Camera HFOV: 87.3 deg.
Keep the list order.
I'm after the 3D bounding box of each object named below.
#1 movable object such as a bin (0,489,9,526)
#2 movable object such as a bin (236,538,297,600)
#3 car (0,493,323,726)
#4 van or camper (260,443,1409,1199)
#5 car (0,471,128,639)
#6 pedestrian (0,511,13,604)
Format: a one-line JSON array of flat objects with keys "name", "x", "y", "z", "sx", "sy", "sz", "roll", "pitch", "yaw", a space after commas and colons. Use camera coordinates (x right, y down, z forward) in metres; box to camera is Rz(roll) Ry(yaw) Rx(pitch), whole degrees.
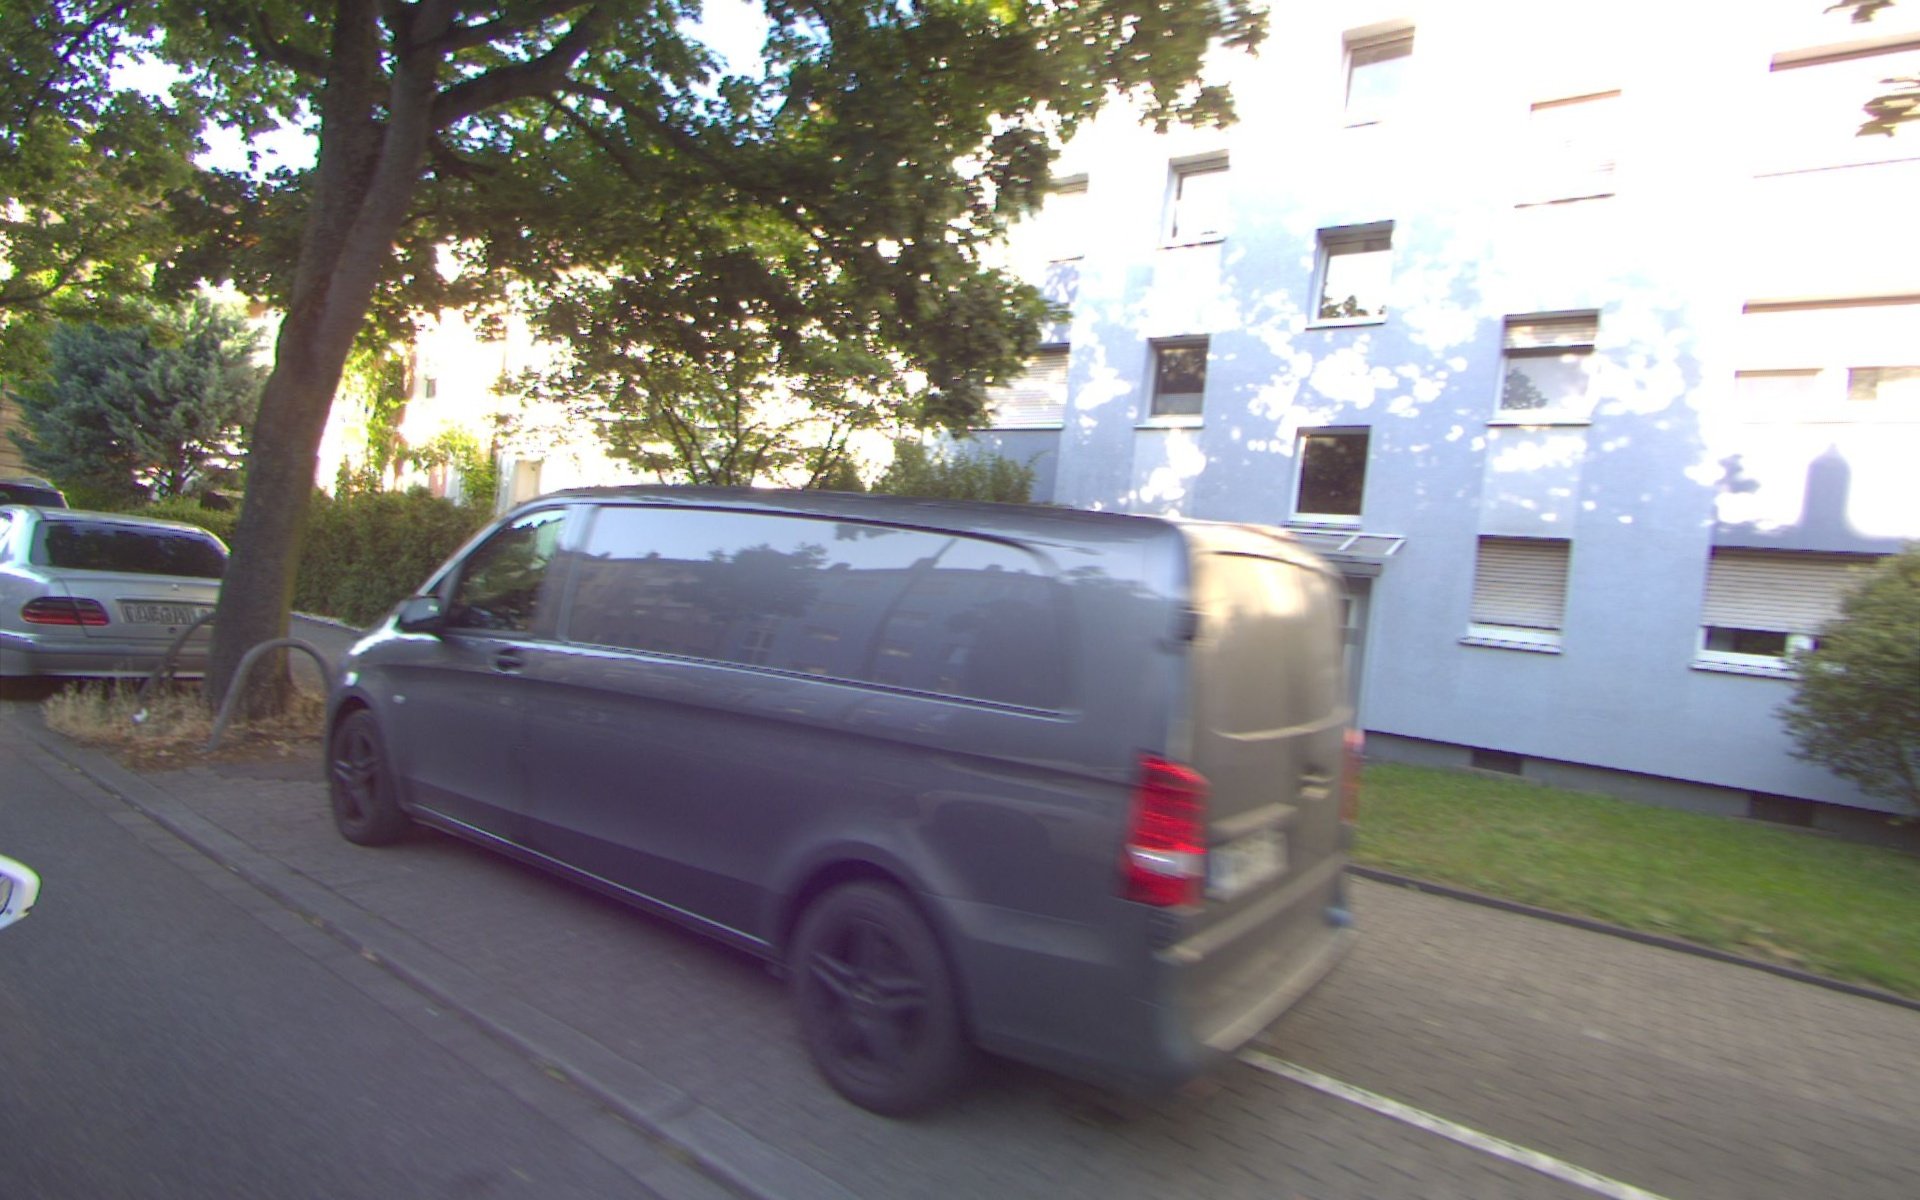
[{"name": "movable object such as a bin", "x": -41.777, "y": -4.040, "z": 43.079, "sx": 0.977, "sy": 1.575, "sz": 1.157, "roll": 7, "pitch": 1, "yaw": 25}, {"name": "movable object such as a bin", "x": -12.770, "y": -0.572, "z": 18.525, "sx": 0.673, "sy": 1.073, "sz": 0.724, "roll": 7, "pitch": 4, "yaw": 34}, {"name": "car", "x": -7.573, "y": -0.071, "z": 8.748, "sx": 4.757, "sy": 1.523, "sz": 1.784, "roll": 6, "pitch": 0, "yaw": 37}, {"name": "van or camper", "x": -0.997, "y": 0.449, "z": 4.676, "sx": 5.176, "sy": 1.866, "sz": 1.993, "roll": 8, "pitch": 1, "yaw": 36}, {"name": "car", "x": -11.653, "y": -0.667, "z": 11.590, "sx": 4.632, "sy": 1.704, "sz": 1.916, "roll": 6, "pitch": 2, "yaw": 34}, {"name": "pedestrian", "x": -17.548, "y": -0.726, "z": 17.926, "sx": 0.752, "sy": 1.803, "sz": 0.669, "roll": 4, "pitch": -3, "yaw": 35}]
